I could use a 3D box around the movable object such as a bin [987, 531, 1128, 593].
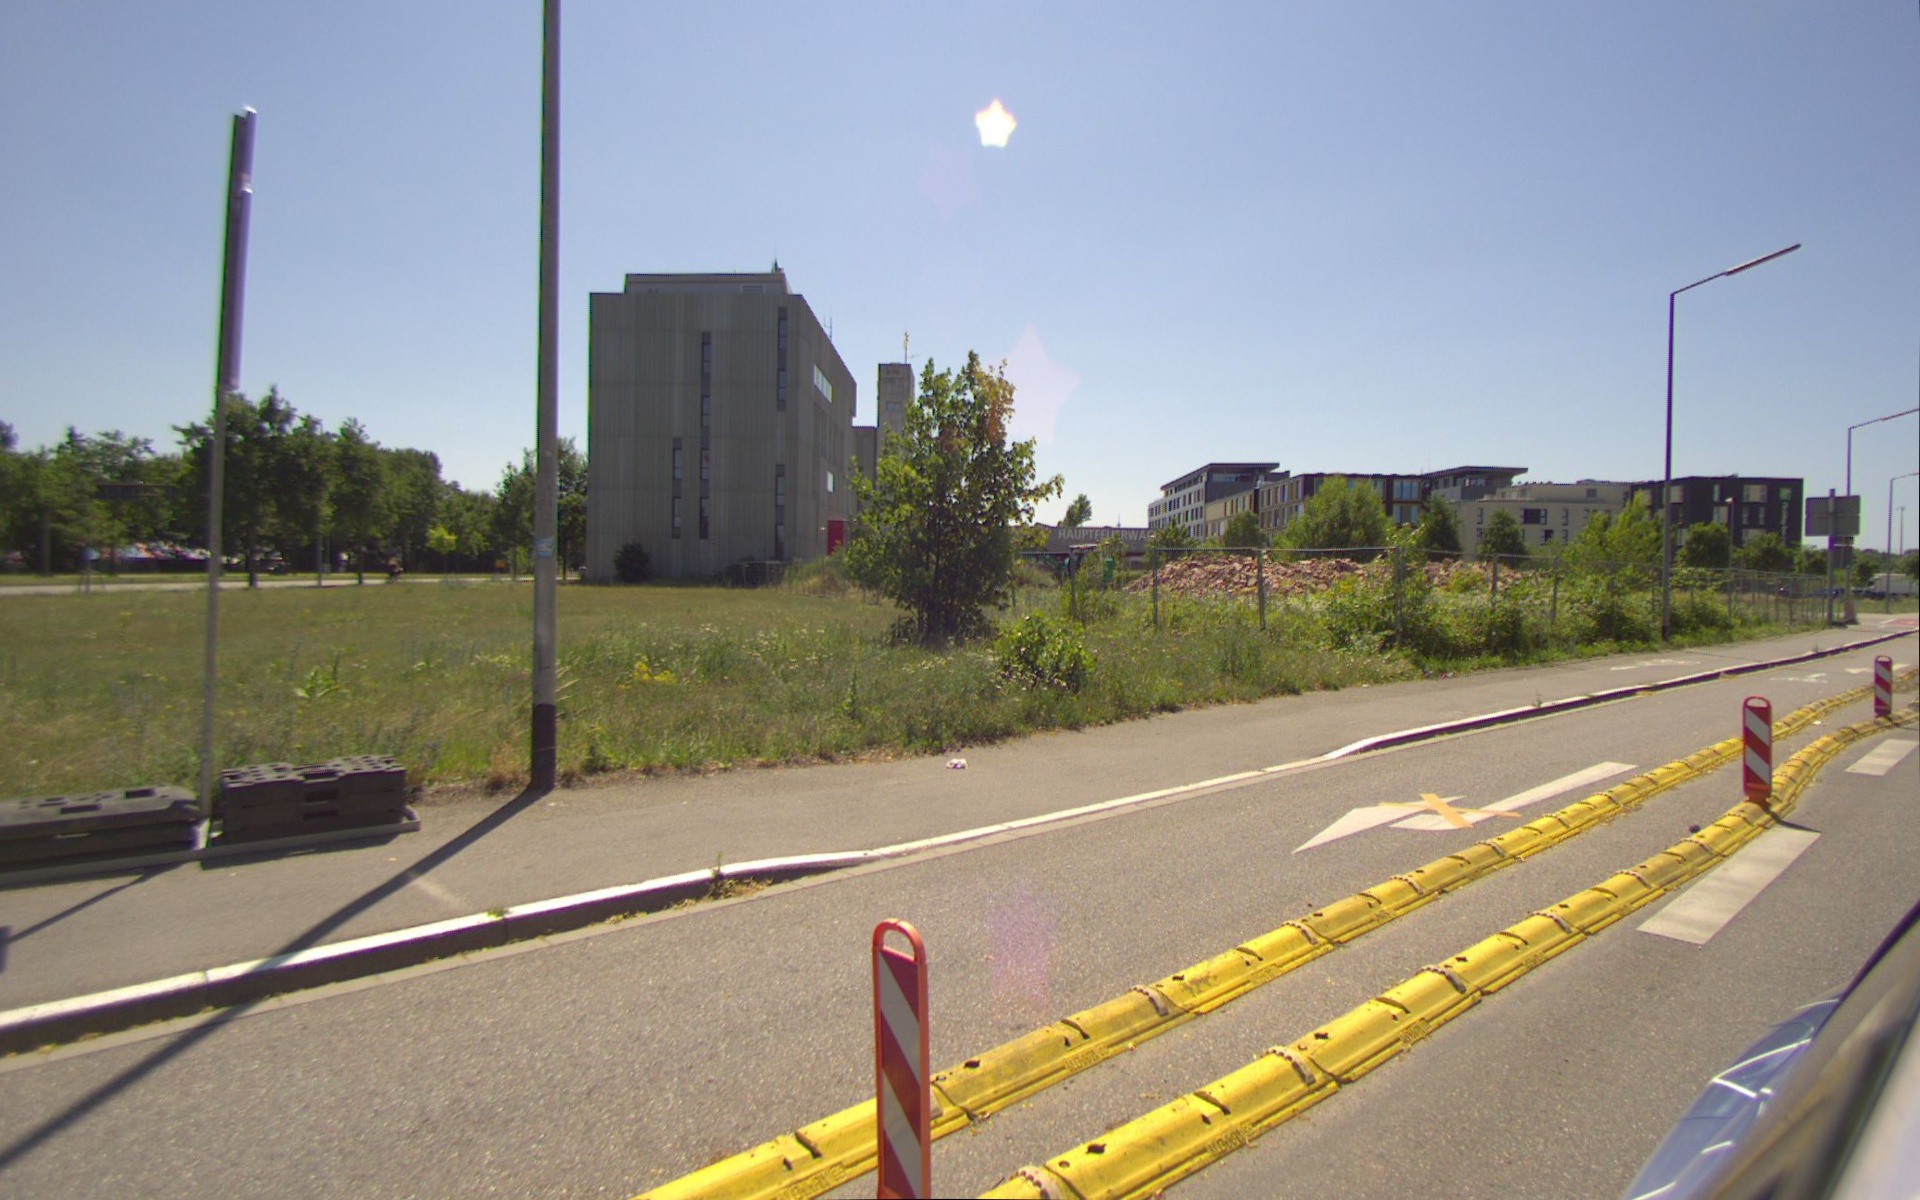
[{"bbox_3d":[5.325,-2.000,54.730,7.459,3.188,2.815,-1,1,-34],"label":"movable object such as a bin"}]

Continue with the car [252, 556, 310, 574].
[{"bbox_3d":[-57.188,-2.934,85.329,1.830,1.440,4.407,1,1,2],"label":"car"}]
